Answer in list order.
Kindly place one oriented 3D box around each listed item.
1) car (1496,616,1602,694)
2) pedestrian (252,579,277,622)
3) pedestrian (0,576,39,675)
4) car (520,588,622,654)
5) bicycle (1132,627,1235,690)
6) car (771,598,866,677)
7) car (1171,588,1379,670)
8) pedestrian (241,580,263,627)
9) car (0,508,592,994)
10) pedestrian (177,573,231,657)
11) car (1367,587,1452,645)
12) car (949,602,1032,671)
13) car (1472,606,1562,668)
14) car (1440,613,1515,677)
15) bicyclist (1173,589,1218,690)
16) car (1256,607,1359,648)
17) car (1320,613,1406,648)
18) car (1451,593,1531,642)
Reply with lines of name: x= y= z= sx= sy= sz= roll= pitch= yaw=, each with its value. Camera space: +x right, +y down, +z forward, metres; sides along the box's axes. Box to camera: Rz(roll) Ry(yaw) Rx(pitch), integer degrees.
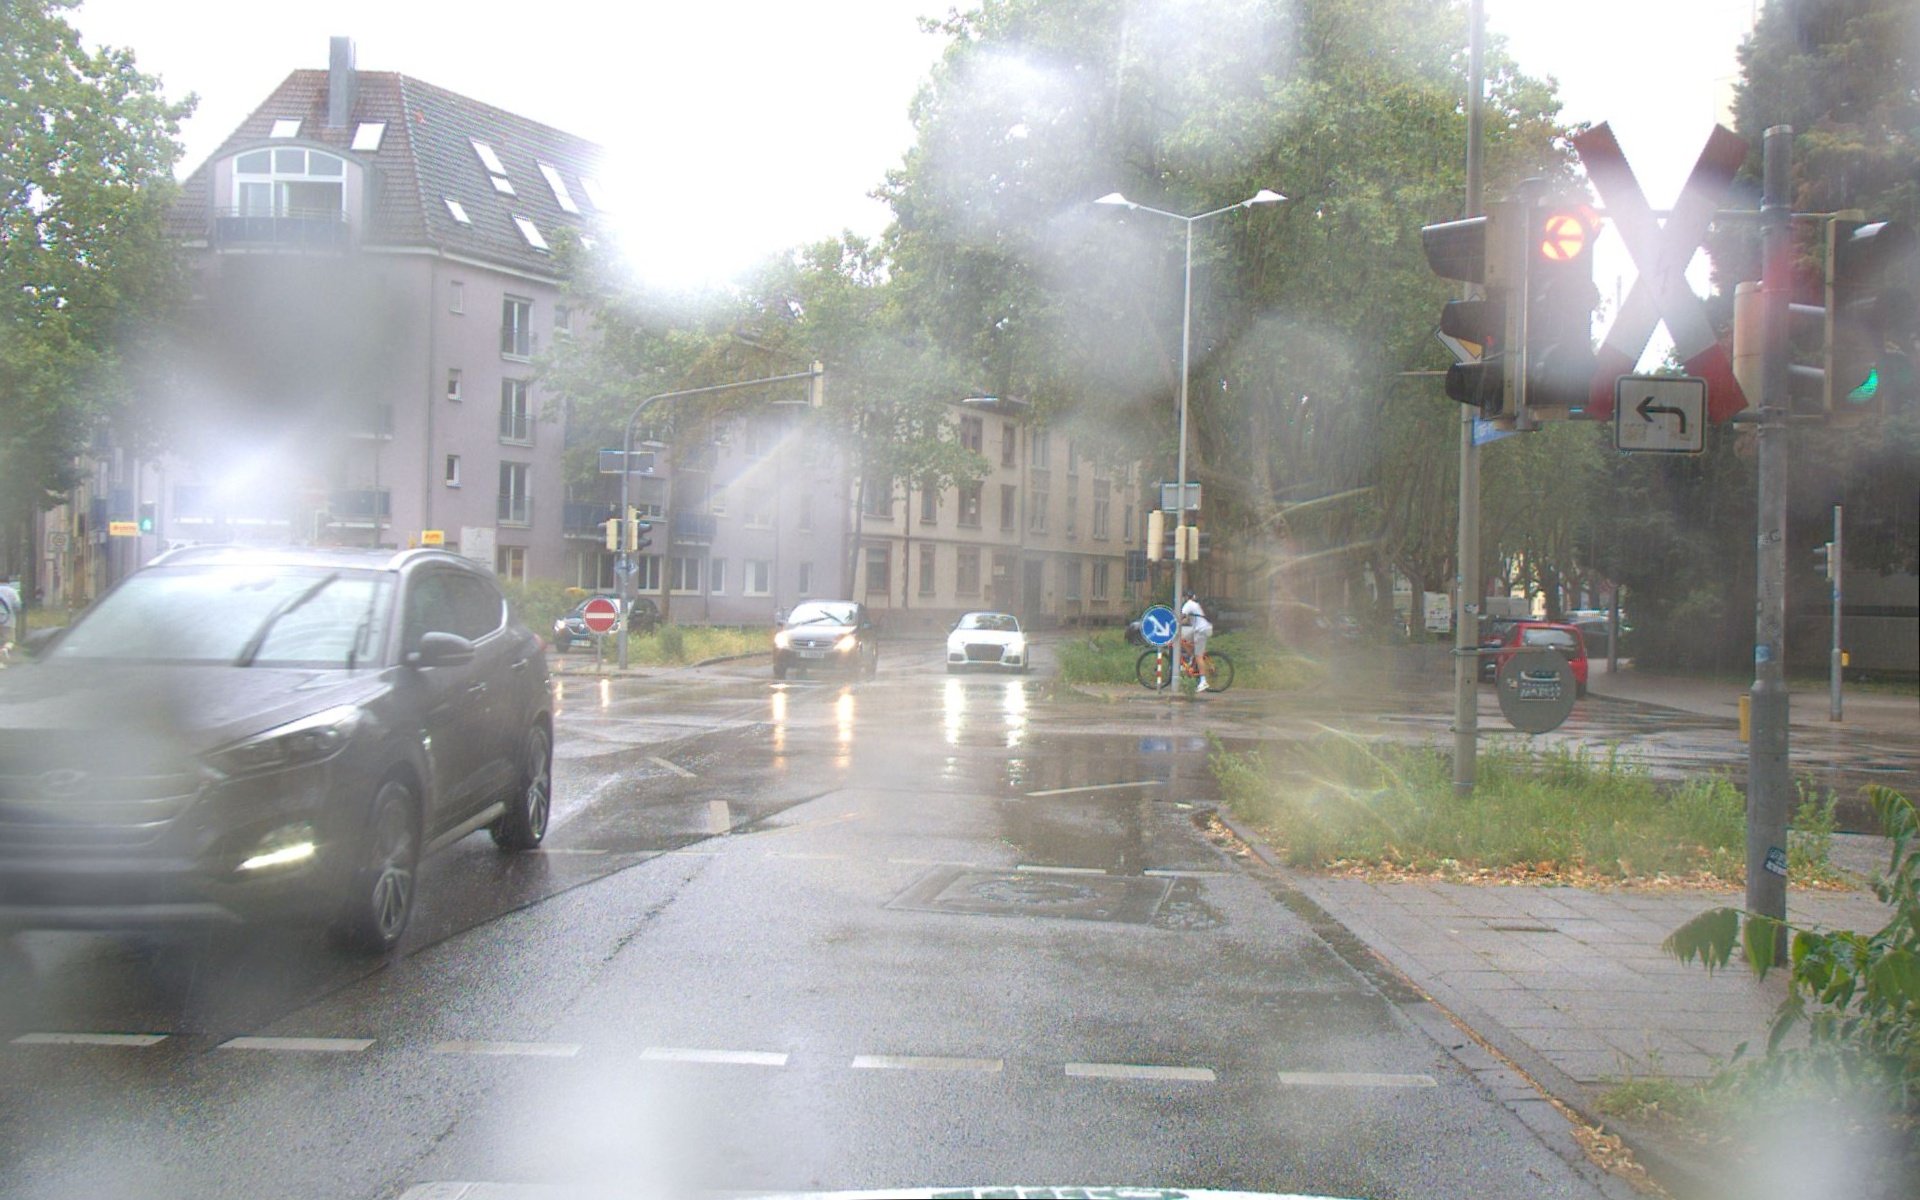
car: x=13.008 y=1.173 z=36.736 sx=1.754 sy=1.524 sz=4.003 roll=1 pitch=0 yaw=13
pedestrian: x=-21.848 y=0.025 z=51.949 sx=0.437 sy=1.353 sz=0.558 roll=0 pitch=-1 yaw=41
pedestrian: x=-16.112 y=0.418 z=27.826 sx=0.659 sy=1.628 sz=0.968 roll=1 pitch=0 yaw=-1
car: x=-9.672 y=0.487 z=41.336 sx=1.716 sy=1.538 sz=3.838 roll=1 pitch=0 yaw=-2
bicycle: x=4.107 y=1.074 z=30.438 sx=1.833 sy=1.100 sz=0.657 roll=1 pitch=0 yaw=7
car: x=-2.814 y=0.732 z=33.580 sx=1.679 sy=1.485 sz=3.746 roll=1 pitch=0 yaw=-2
car: x=6.243 y=0.556 z=32.790 sx=3.902 sy=1.512 sz=2.002 roll=1 pitch=0 yaw=12
pedestrian: x=-22.535 y=0.100 z=52.620 sx=0.550 sy=1.483 sz=0.444 roll=1 pitch=-1 yaw=-15
car: x=-3.136 y=0.513 z=8.149 sx=1.767 sy=1.712 sz=4.602 roll=0 pitch=0 yaw=-2
pedestrian: x=-14.275 y=0.284 z=31.264 sx=0.736 sy=1.560 sz=0.789 roll=1 pitch=-1 yaw=-12
car: x=23.892 y=0.844 z=88.073 sx=2.005 sy=3.000 sz=4.742 roll=1 pitch=0 yaw=-21
car: x=0.729 y=0.826 z=39.111 sx=1.845 sy=1.461 sz=4.001 roll=1 pitch=0 yaw=1
car: x=13.851 y=0.887 z=41.306 sx=1.745 sy=1.371 sz=3.932 roll=1 pitch=1 yaw=13
car: x=14.942 y=1.262 z=47.910 sx=1.745 sy=1.757 sz=4.003 roll=1 pitch=0 yaw=13
bicyclist: x=4.320 y=0.718 z=30.417 sx=0.778 sy=1.817 sz=0.697 roll=1 pitch=-1 yaw=7
car: x=13.780 y=1.083 z=65.641 sx=3.902 sy=1.512 sz=2.002 roll=1 pitch=0 yaw=12
car: x=19.204 y=1.444 z=78.929 sx=3.902 sy=1.574 sz=2.002 roll=1 pitch=0 yaw=12
car: x=33.602 y=1.068 z=104.821 sx=1.974 sy=3.000 sz=4.720 roll=1 pitch=0 yaw=-31
